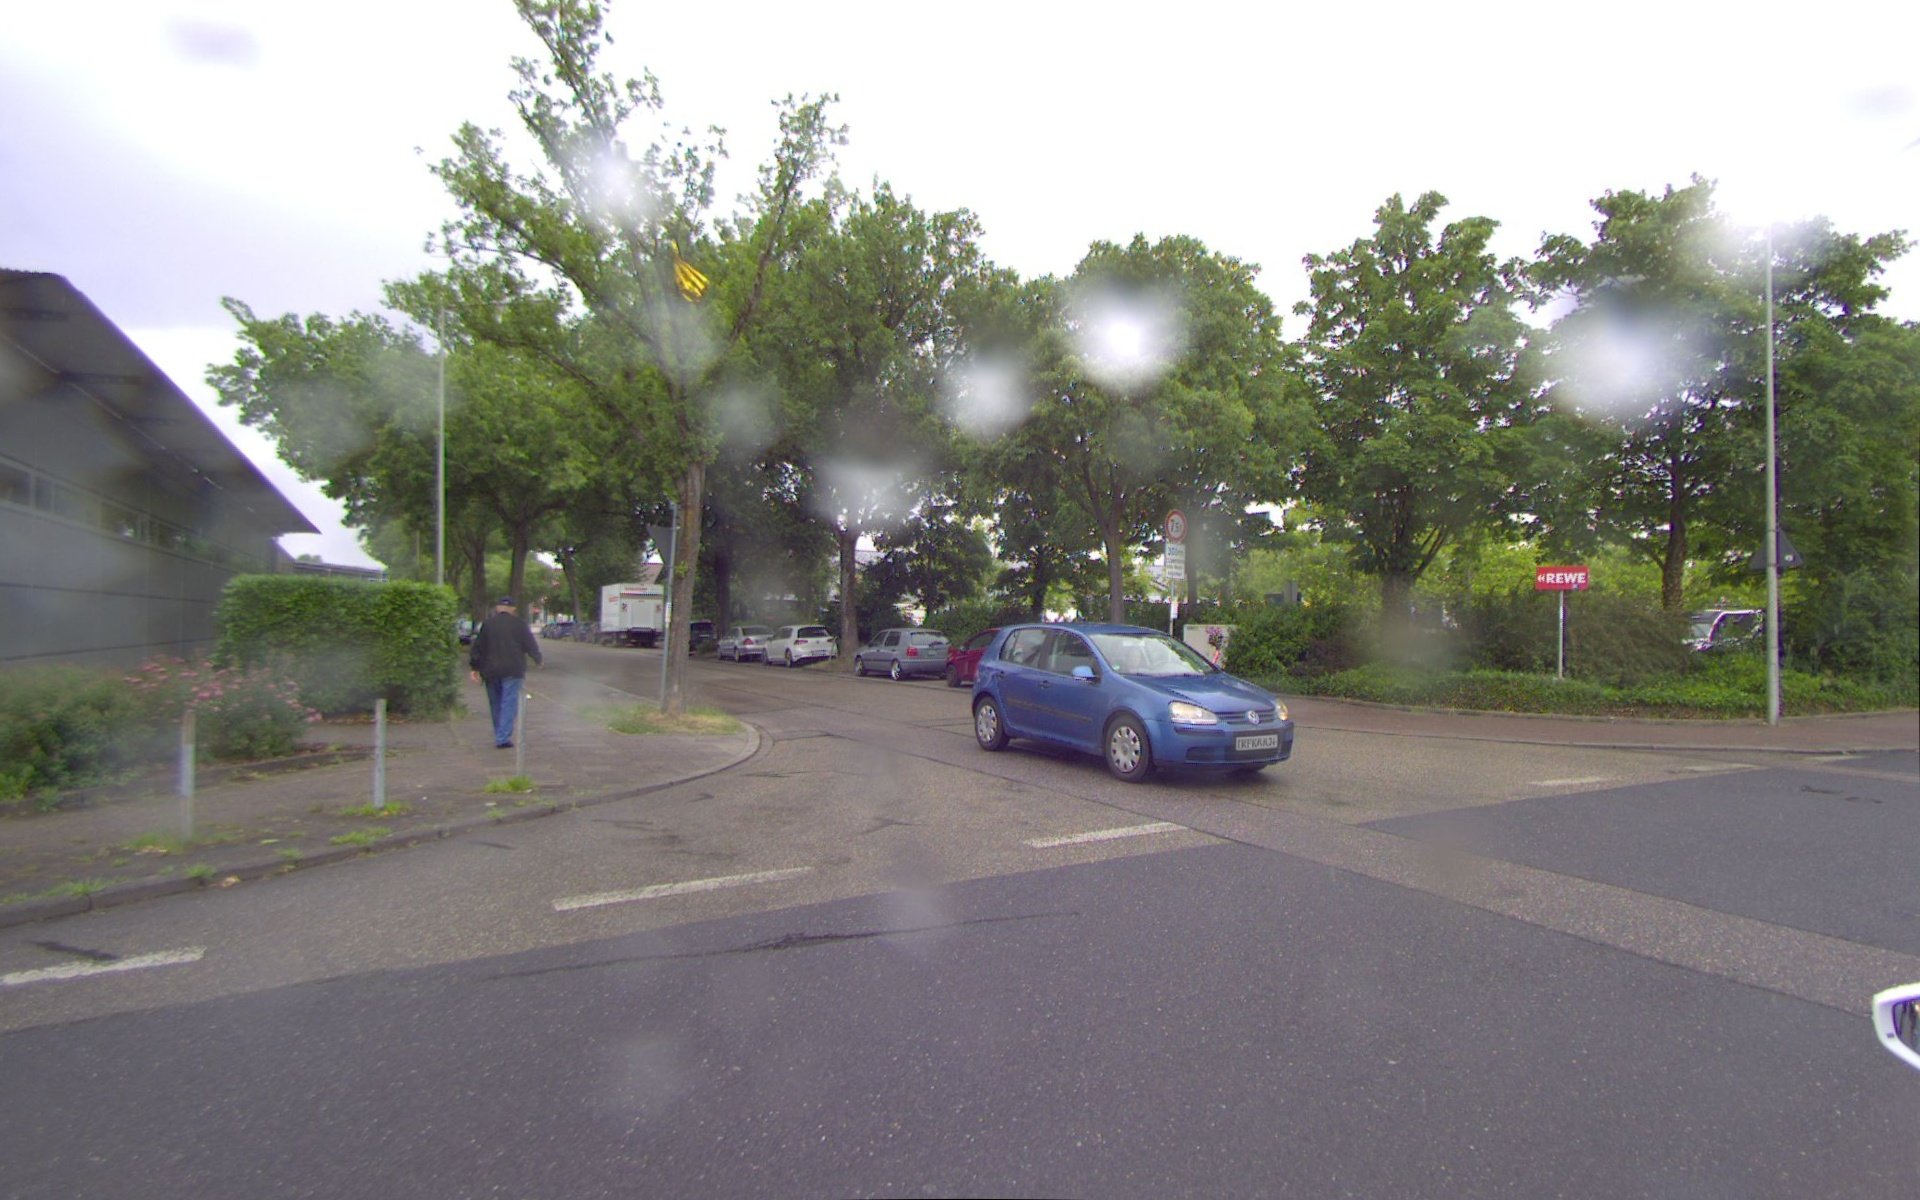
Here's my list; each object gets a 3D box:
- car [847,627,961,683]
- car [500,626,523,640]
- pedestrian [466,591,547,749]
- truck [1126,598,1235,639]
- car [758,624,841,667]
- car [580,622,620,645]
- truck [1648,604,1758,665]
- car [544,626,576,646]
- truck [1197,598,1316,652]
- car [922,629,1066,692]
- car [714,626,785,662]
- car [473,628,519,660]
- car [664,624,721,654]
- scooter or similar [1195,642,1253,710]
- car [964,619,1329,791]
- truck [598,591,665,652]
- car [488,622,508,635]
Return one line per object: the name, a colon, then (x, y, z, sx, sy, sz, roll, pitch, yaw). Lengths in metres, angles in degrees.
car: (-1.671, 1.510, 28.520, 1.715, 1.460, 3.970, 1, -2, -29)
car: (-51.956, 3.811, 116.294, 1.904, 1.593, 3.967, 2, -2, -31)
pedestrian: (-5.077, 0.770, 11.286, 0.747, 1.696, 0.779, 1, -1, -20)
truck: (11.962, 1.036, 54.324, 6.065, 2.121, 1.983, 1, -2, -32)
car: (-5.825, 1.616, 36.167, 1.715, 1.460, 3.970, 1, -2, -29)
car: (-25.920, 2.394, 72.274, 1.904, 1.593, 3.967, 2, -2, -31)
truck: (36.269, 1.692, 48.978, 6.392, 2.789, 1.984, 2, -2, -30)
car: (-33.409, 2.974, 83.837, 1.904, 1.593, 3.967, 2, -2, -31)
truck: (15.256, 1.323, 51.556, 6.315, 2.636, 1.986, 1, -1, -28)
car: (0.732, 1.406, 24.337, 1.715, 1.381, 3.970, 1, -2, -29)
car: (-8.617, 1.764, 40.898, 1.715, 1.401, 4.066, 1, -2, -29)
car: (-19.027, 1.764, 41.143, 1.550, 1.218, 3.972, 1, -2, -27)
car: (-12.972, 1.873, 48.569, 1.715, 1.401, 4.066, 1, -2, -29)
scooter or similar: (4.739, 1.350, 18.007, 1.044, 1.191, 0.283, 1, -1, -22)
car: (1.749, 0.967, 10.713, 1.715, 1.460, 3.970, 1, -2, -29)
truck: (-20.161, 1.321, 61.345, 2.572, 3.515, 6.762, 1, -2, -29)
car: (-59.321, 3.663, 128.852, 1.904, 1.593, 3.967, 2, -2, -31)
